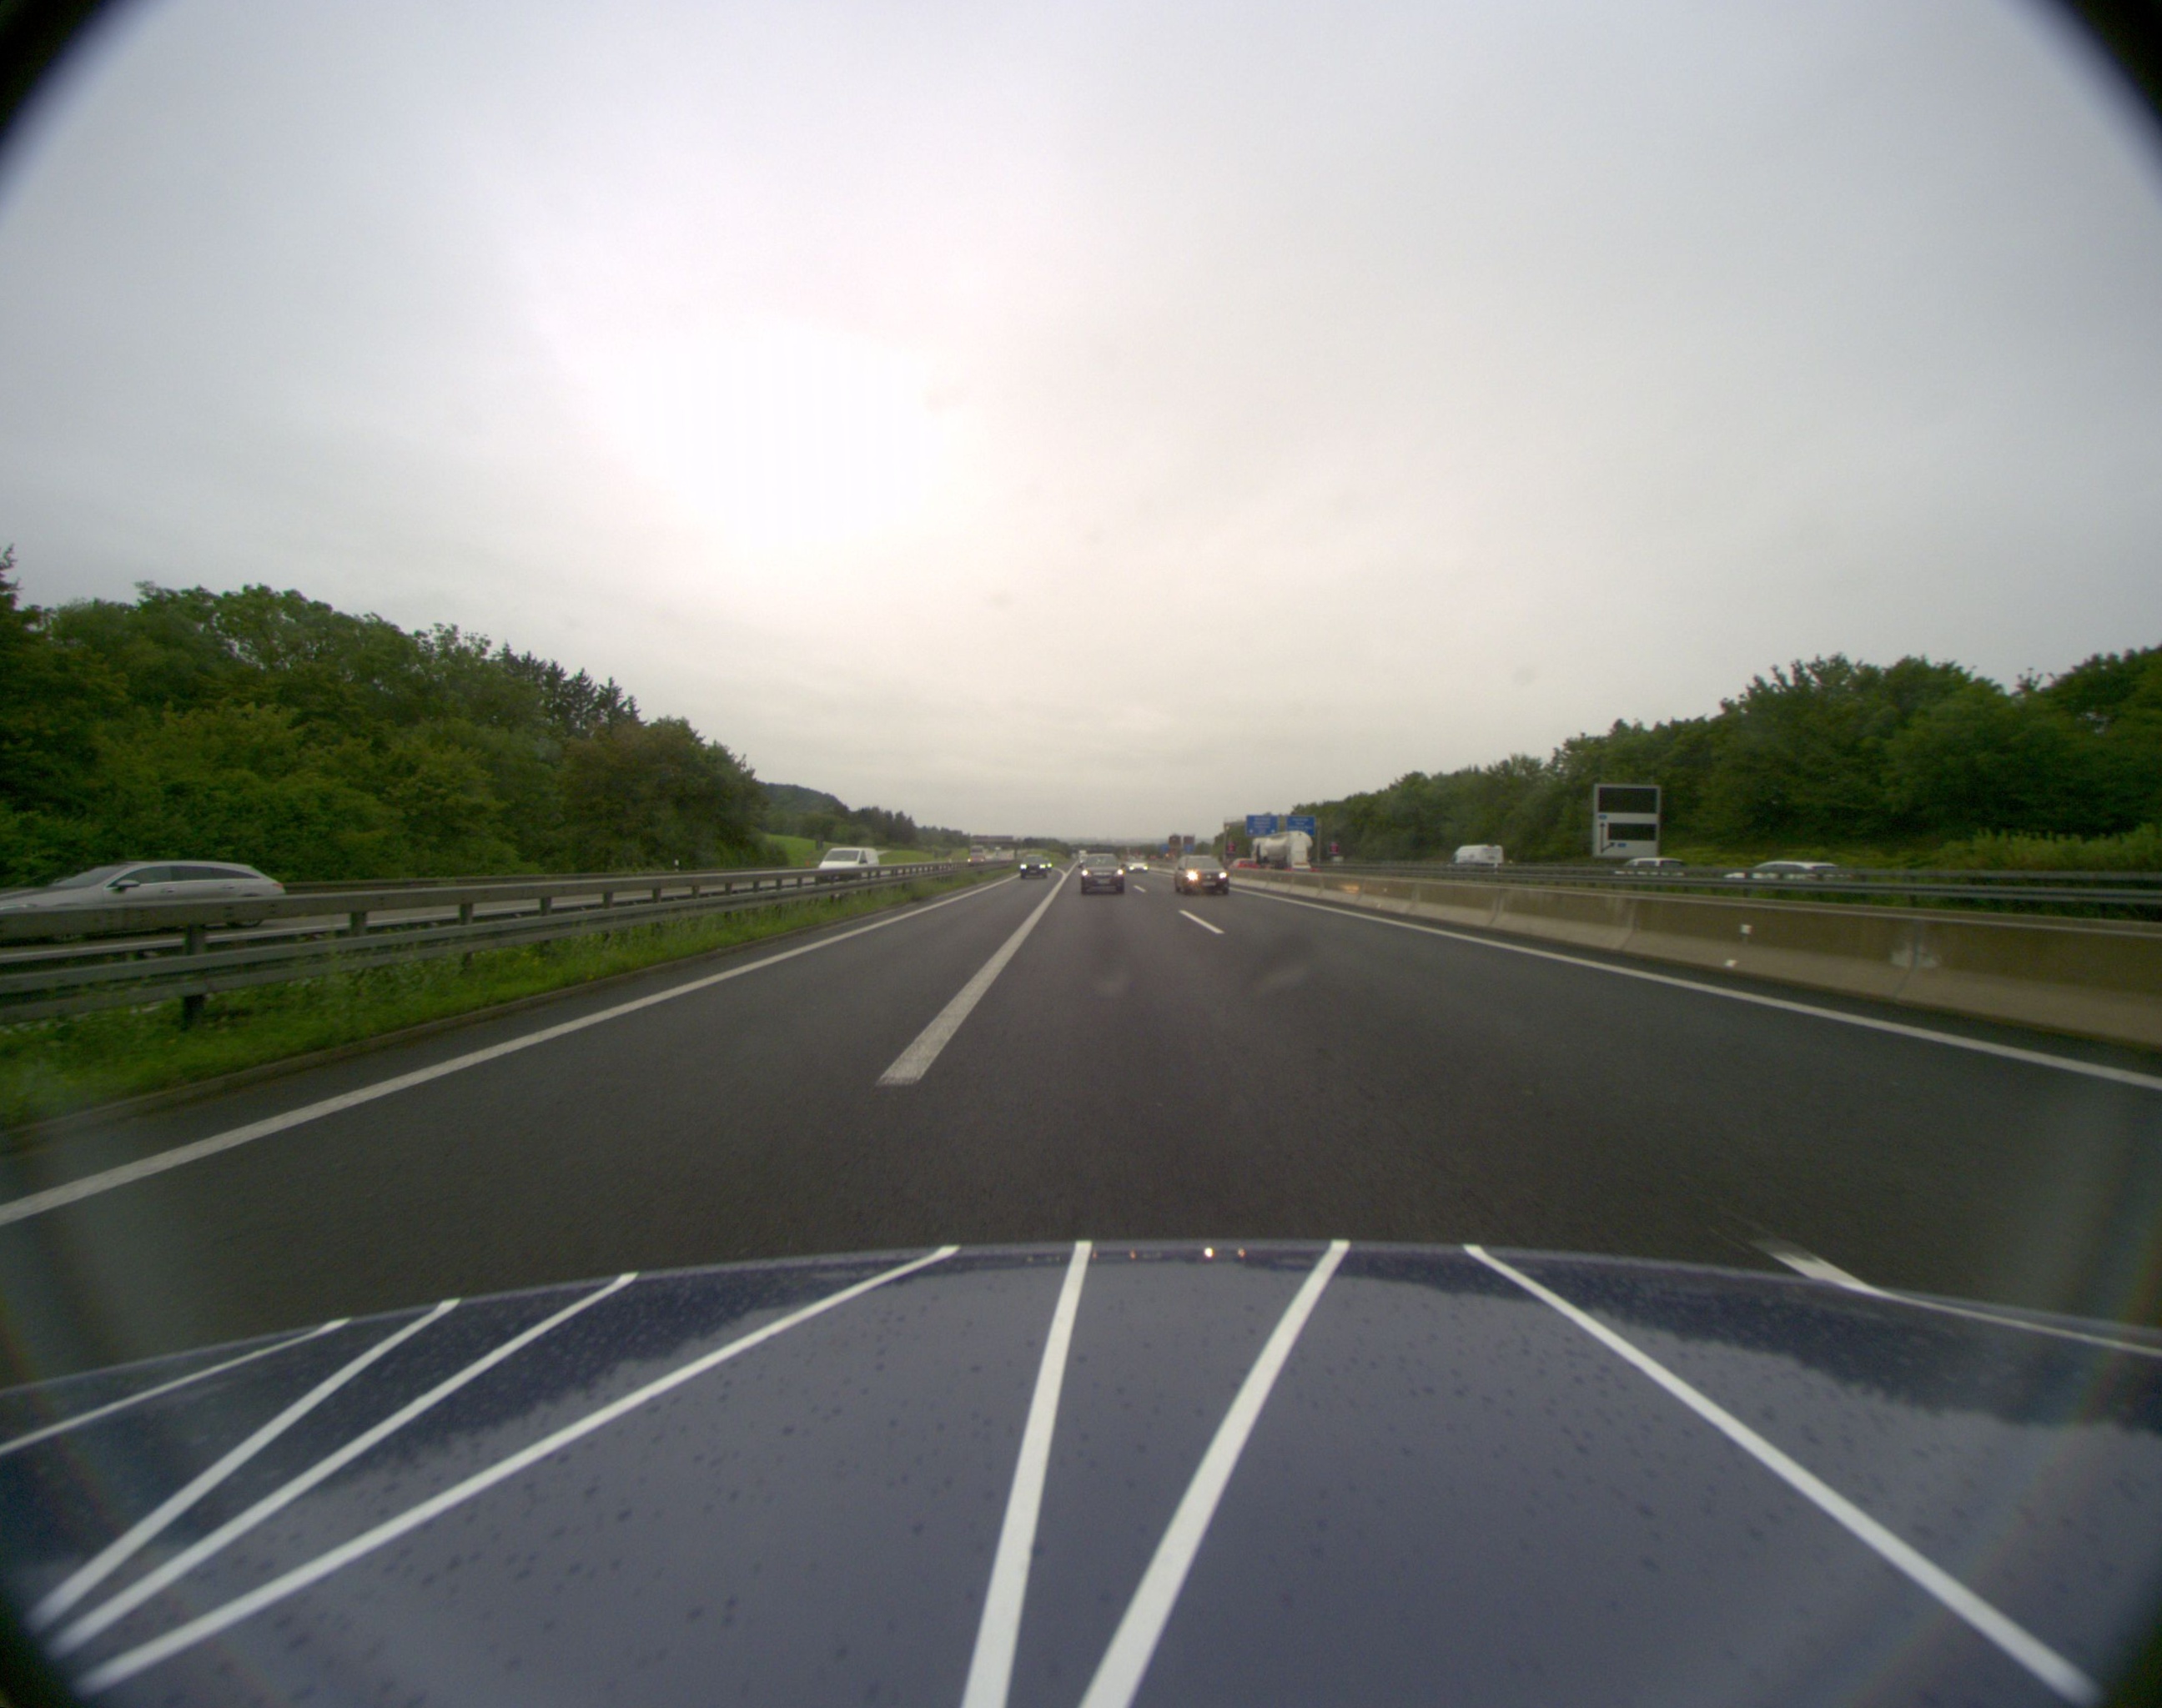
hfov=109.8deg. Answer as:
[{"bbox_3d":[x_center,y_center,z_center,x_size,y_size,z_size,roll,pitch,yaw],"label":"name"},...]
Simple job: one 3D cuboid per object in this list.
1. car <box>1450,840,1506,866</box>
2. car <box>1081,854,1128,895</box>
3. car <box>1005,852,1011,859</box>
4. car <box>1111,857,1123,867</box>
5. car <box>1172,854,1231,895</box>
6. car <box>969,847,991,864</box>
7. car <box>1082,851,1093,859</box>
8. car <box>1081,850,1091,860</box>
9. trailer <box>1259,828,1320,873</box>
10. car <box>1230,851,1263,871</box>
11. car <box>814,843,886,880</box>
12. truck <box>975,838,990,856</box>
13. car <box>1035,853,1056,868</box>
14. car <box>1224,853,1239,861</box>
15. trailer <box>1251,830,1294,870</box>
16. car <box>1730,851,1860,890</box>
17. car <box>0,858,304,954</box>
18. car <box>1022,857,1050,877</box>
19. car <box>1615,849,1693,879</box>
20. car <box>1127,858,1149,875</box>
[{"bbox_3d":[32.615,-0.123,62.643,1.878,2.002,5.298,-1,1,1],"label":"car"},{"bbox_3d":[0.930,0.811,32.070,1.813,1.571,3.834,-1,1,0],"label":"car"},{"bbox_3d":[-21.764,0.483,227.424,1.753,2.002,4.495,-1,1,-6],"label":"car"},{"bbox_3d":[5.997,1.367,127.723,1.726,1.481,4.566,-1,1,-1],"label":"car"},{"bbox_3d":[4.755,0.765,30.532,1.725,1.481,4.567,-1,1,1],"label":"car"},{"bbox_3d":[-12.556,0.128,94.955,2.130,2.002,5.076,-1,1,-2],"label":"car"},{"bbox_3d":[1.317,0.163,154.503,1.919,1.481,4.566,-1,1,-1],"label":"car"},{"bbox_3d":[0.999,0.241,160.573,2.016,1.994,4.566,-1,1,-1],"label":"car"},{"bbox_3d":[18.405,-0.342,67.841,2.643,3.714,10.810,-1,1,1],"label":"trailer"},{"bbox_3d":[13.660,0.538,63.054,1.813,1.571,4.355,-1,1,1],"label":"car"},{"bbox_3d":[-11.085,0.320,36.878,1.913,1.684,4.719,-1,1,1],"label":"car"},{"bbox_3d":[-21.938,-1.486,169.643,2.799,3.878,10.023,-1,1,-4],"label":"truck"},{"bbox_3d":[-3.689,0.700,80.244,1.885,1.519,4.000,-1,1,1],"label":"car"},{"bbox_3d":[29.466,0.641,148.708,1.823,1.448,4.567,-1,1,-2],"label":"car"},{"bbox_3d":[18.542,-0.396,73.938,2.643,3.694,6.491,-1,1,1],"label":"trailer"},{"bbox_3d":[29.645,0.630,31.716,1.708,1.499,4.000,-1,1,1],"label":"car"},{"bbox_3d":[-17.909,0.840,14.157,1.903,1.446,4.710,-1,1,1],"label":"car"},{"bbox_3d":[-3.333,0.948,57.192,1.867,1.349,4.566,-1,1,0],"label":"car"},{"bbox_3d":[35.346,0.573,47.028,1.708,1.759,3.999,-1,1,-2],"label":"car"},{"bbox_3d":[5.413,1.144,72.730,1.726,1.481,4.566,-1,1,0],"label":"car"}]
